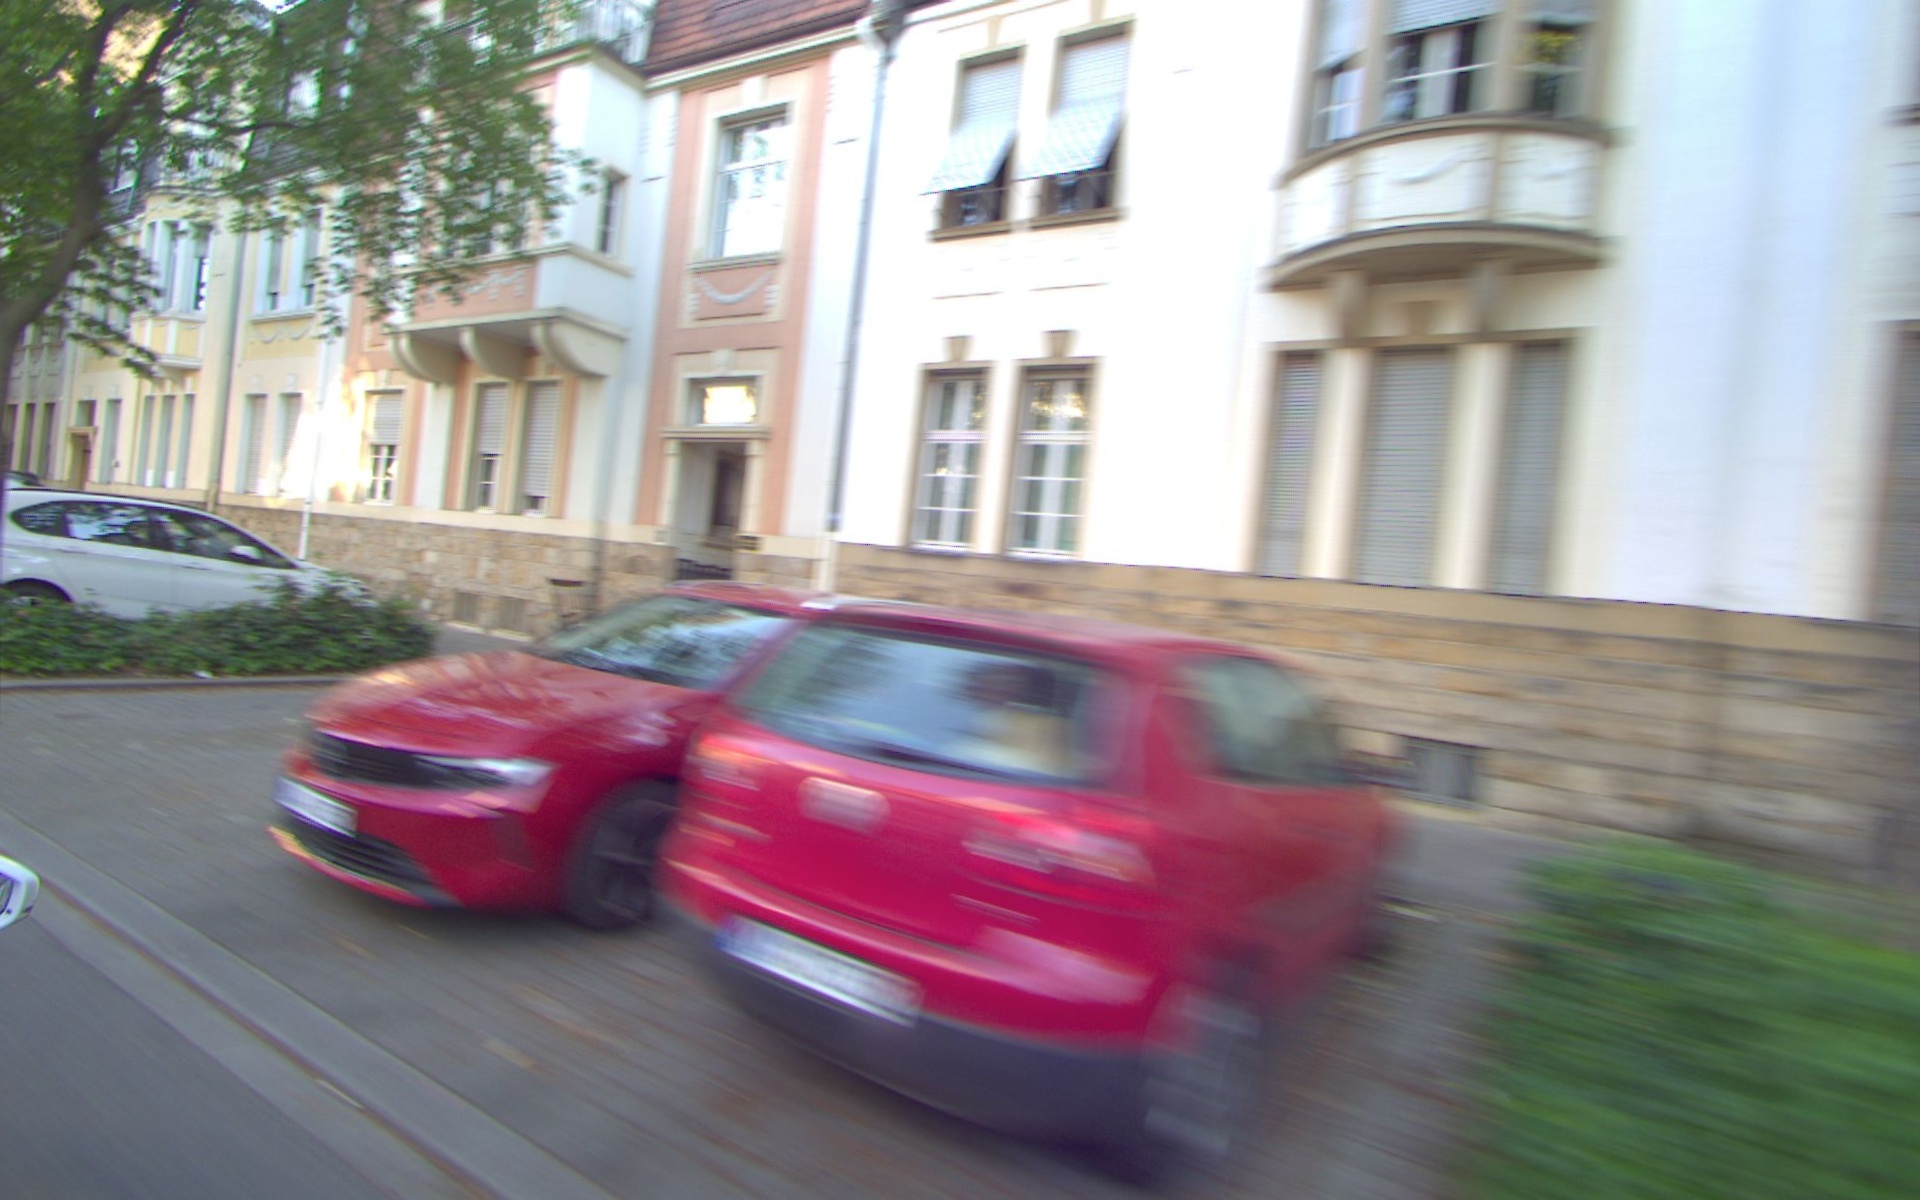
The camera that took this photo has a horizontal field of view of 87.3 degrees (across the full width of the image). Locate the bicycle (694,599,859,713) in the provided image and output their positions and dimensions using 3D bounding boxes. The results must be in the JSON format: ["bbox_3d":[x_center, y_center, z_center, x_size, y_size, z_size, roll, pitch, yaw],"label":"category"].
[{"bbox_3d":[-2.175,0.628,11.781,2.011,1.070,0.474,6,1,31],"label":"bicycle"}]

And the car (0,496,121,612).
[{"bbox_3d":[-14.979,-0.865,14.241,1.845,1.559,4.297,7,-2,30],"label":"car"}]

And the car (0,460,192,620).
[{"bbox_3d":[-12.921,-0.883,13.039,1.873,1.920,4.225,6,0,30],"label":"car"}]

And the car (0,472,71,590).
[{"bbox_3d":[-18.795,-1.508,17.062,2.037,2.012,5.064,7,-2,30],"label":"car"}]

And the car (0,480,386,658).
[{"bbox_3d":[-8.862,-0.295,10.922,1.846,1.591,4.114,6,0,32],"label":"car"}]

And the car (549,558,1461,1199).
[{"bbox_3d":[0.732,0.812,4.250,1.822,1.494,4.190,6,0,34],"label":"car"}]

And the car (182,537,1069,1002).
[{"bbox_3d":[-1.303,0.646,5.617,1.847,1.437,4.411,6,0,34],"label":"car"}]
